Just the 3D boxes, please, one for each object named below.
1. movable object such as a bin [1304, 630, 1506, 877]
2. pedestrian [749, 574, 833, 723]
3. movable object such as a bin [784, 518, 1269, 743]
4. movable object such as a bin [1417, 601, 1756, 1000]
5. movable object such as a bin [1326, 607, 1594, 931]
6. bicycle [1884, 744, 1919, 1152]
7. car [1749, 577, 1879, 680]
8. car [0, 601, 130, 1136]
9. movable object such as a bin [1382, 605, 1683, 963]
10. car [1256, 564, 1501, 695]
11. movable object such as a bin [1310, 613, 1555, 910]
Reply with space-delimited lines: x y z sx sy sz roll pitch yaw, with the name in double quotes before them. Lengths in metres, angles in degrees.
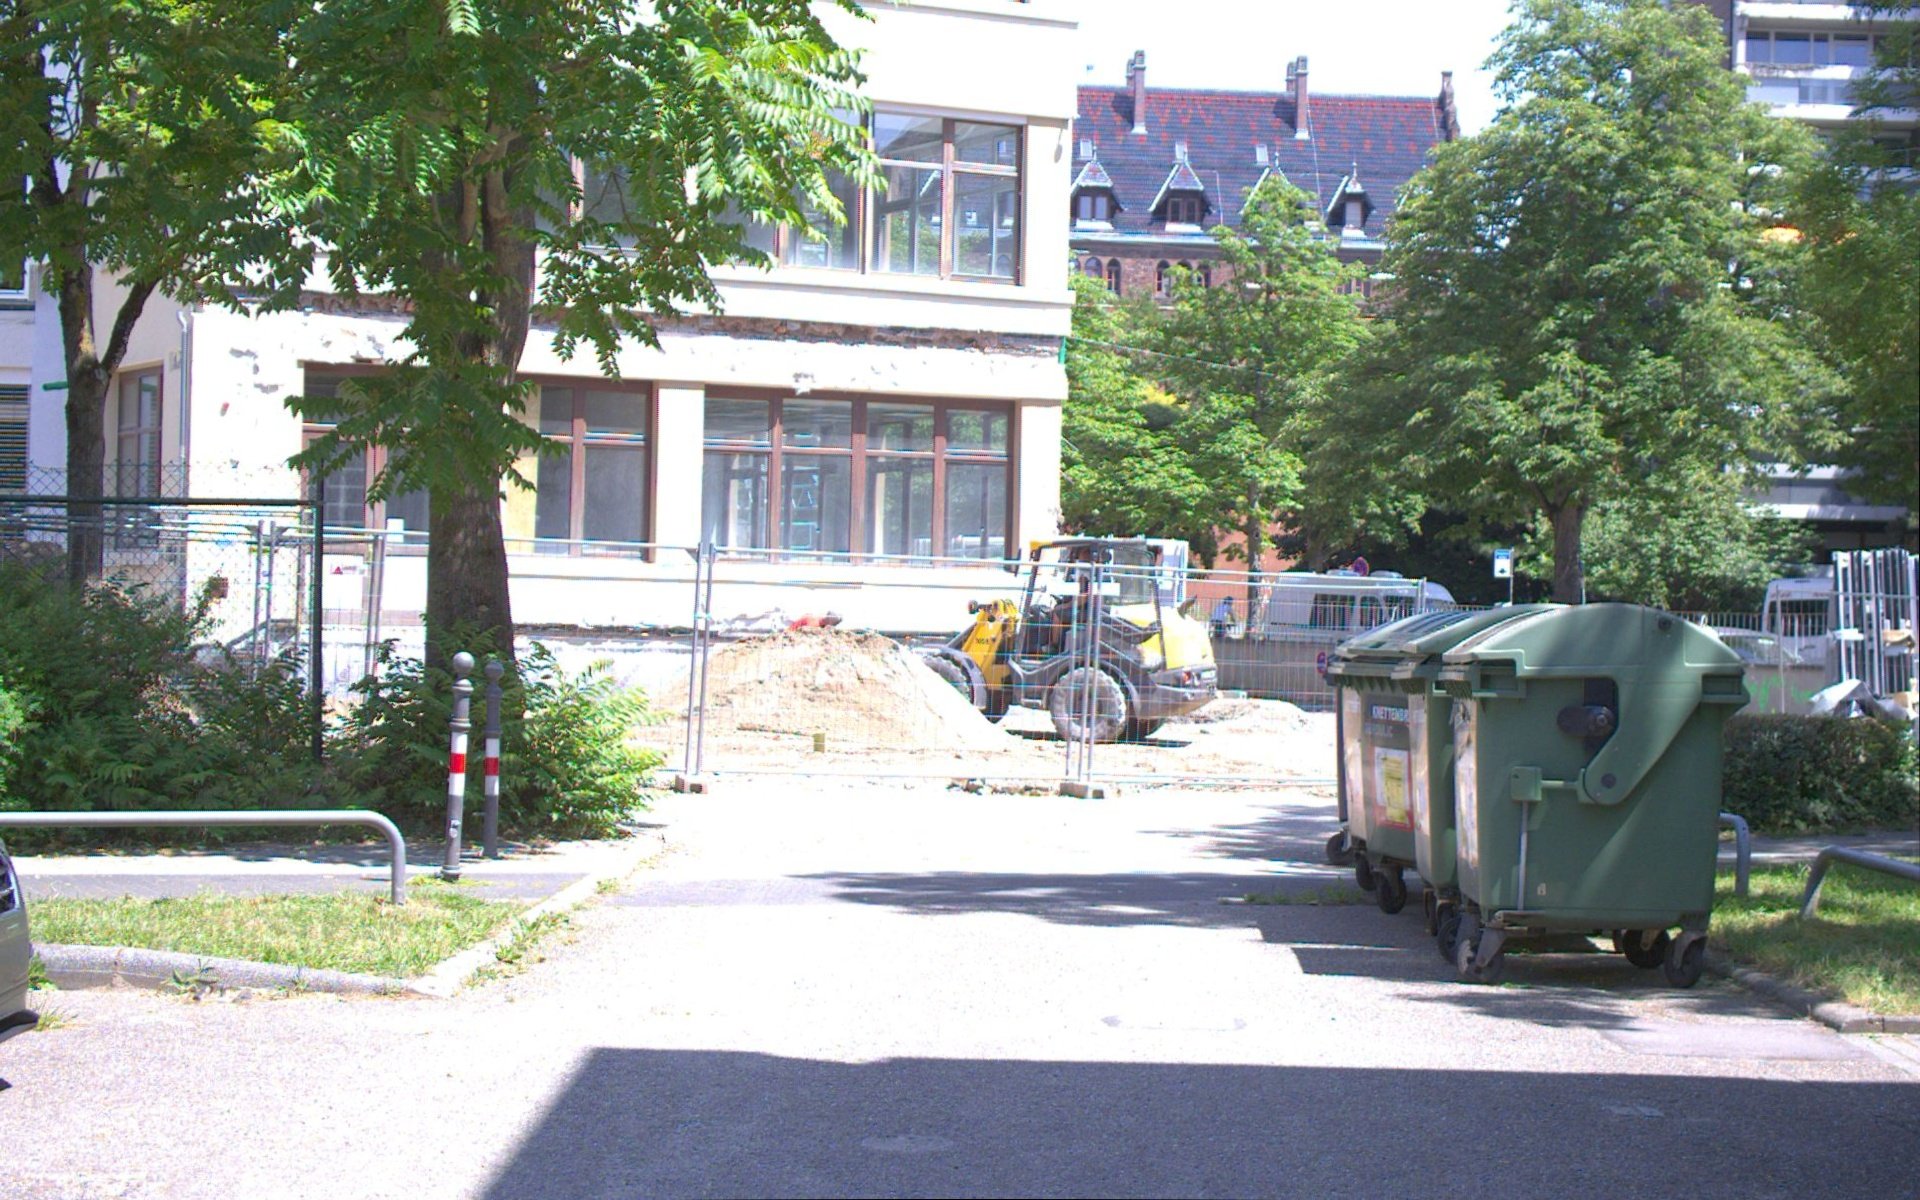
"movable object such as a bin" 2.736 0.924 21.299 1.075 1.453 1.377 1 -1 1
"pedestrian" -2.125 0.606 43.408 0.914 1.840 0.986 1 -1 4
"movable object such as a bin" 0.800 0.352 42.523 5.412 2.456 2.364 3 0 29
"movable object such as a bin" 2.419 0.750 13.460 1.075 1.453 1.377 1 -1 1
"movable object such as a bin" 2.354 0.778 16.376 1.075 1.453 1.377 1 -1 1
"bicycle" 2.824 0.953 8.826 0.405 1.098 1.826 1 -1 1
"car" 19.479 0.670 78.285 2.187 2.250 4.863 1 -1 22
"car" -4.666 0.641 8.993 4.430 1.375 2.023 1 -1 3
"movable object such as a bin" 2.451 0.766 14.902 1.075 1.453 1.377 1 -1 1
"car" 8.023 0.548 66.484 1.993 2.408 5.244 2 -1 -28
"movable object such as a bin" 2.422 0.809 17.797 1.075 1.453 1.377 1 -1 1
